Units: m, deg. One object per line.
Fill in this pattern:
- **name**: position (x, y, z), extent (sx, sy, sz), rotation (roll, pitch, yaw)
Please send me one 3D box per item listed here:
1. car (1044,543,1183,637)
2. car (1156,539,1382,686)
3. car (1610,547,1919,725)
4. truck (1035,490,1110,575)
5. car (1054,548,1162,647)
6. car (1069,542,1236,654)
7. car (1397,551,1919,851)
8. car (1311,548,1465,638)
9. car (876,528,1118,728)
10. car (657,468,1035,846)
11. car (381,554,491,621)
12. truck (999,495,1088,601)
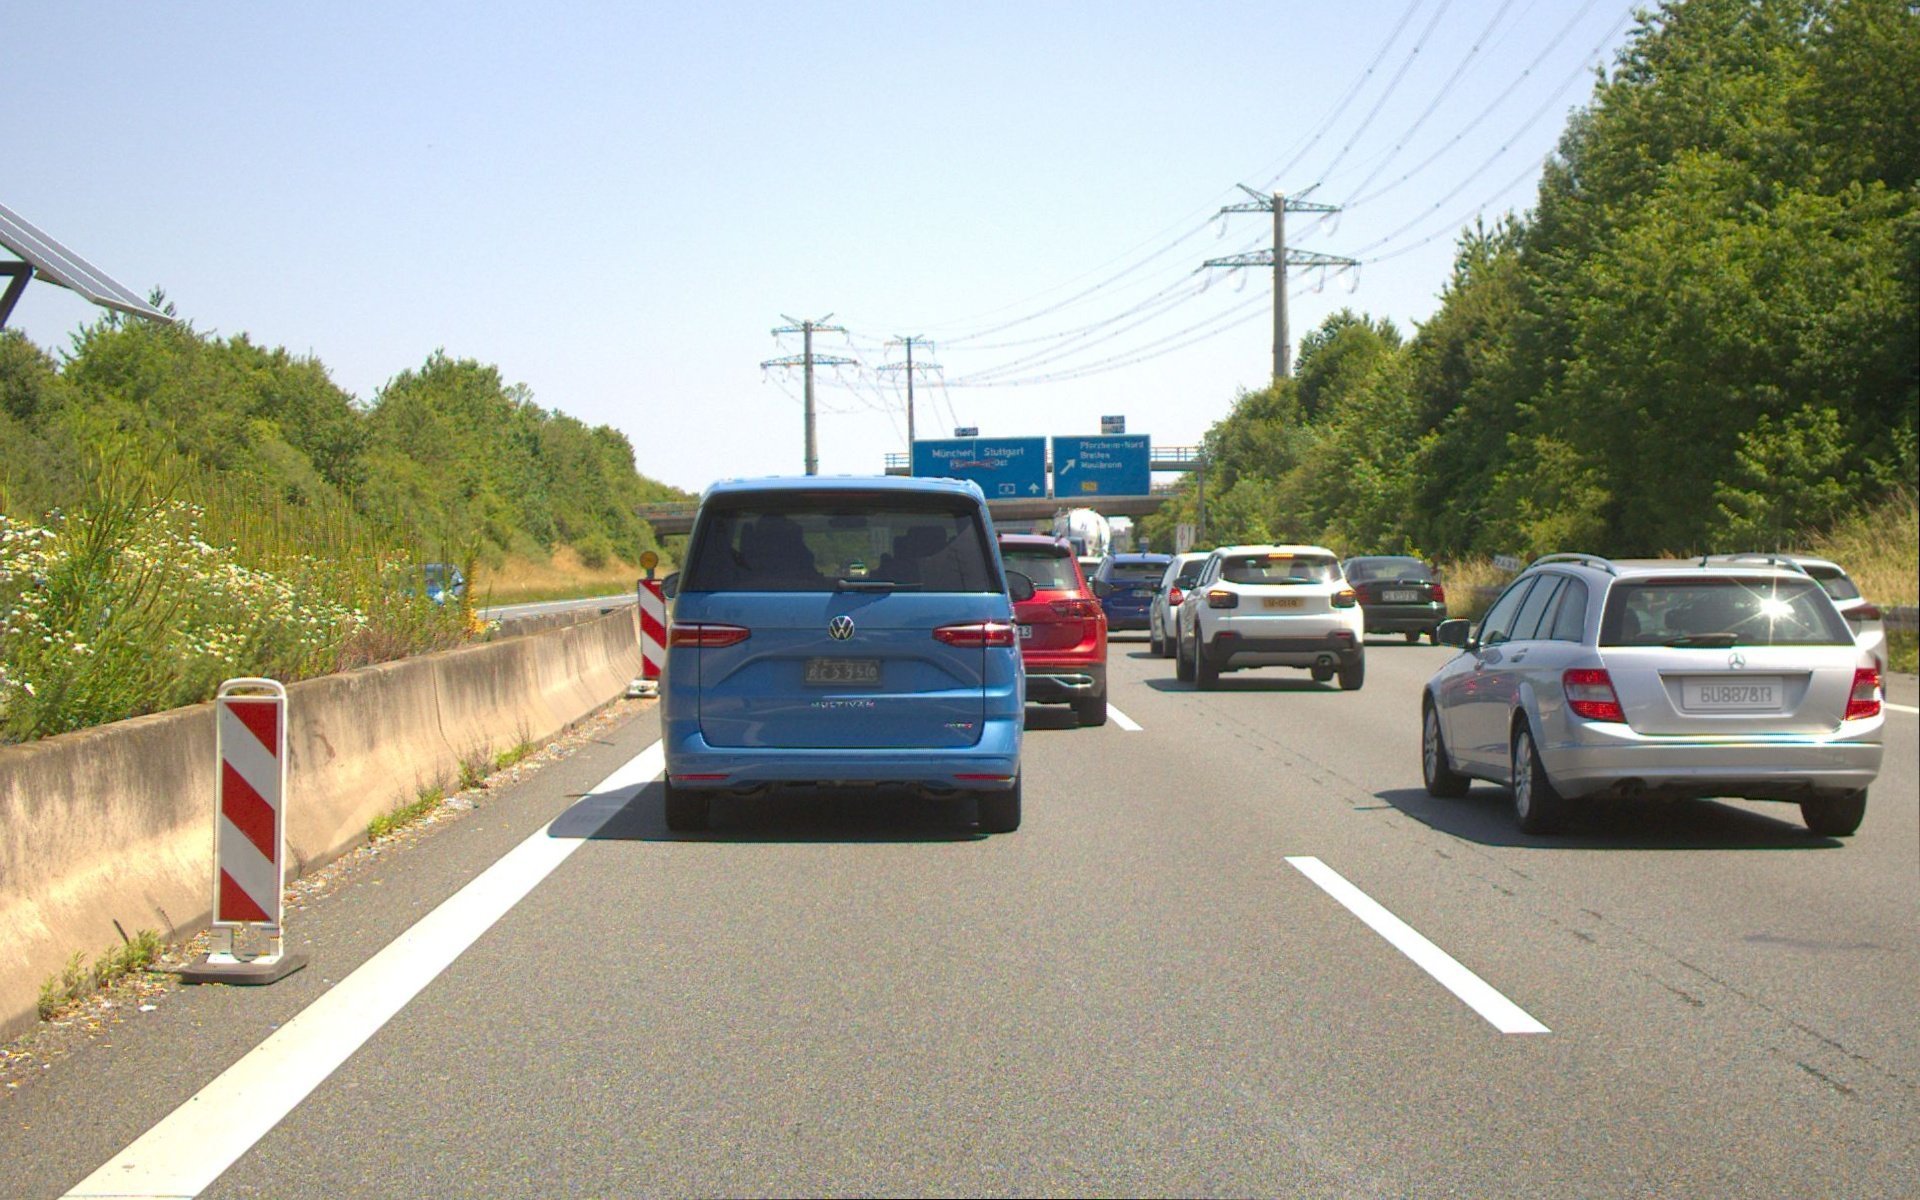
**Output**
- **car**: position (2.540, -0.197, 57.949), extent (1.908, 1.511, 4.384), rotation (1, 1, -3)
- **car**: position (3.327, 0.099, 37.716), extent (1.908, 1.503, 3.922), rotation (1, 1, -3)
- **car**: position (7.149, 0.271, 30.916), extent (1.741, 1.465, 4.014), rotation (0, 1, -1)
- **truck**: position (5.601, -3.398, 173.938), extent (2.644, 4.058, 16.443), rotation (1, 1, -2)
- **car**: position (3.094, -0.080, 72.741), extent (1.993, 2.007, 4.000), rotation (1, 1, -1)
- **car**: position (2.702, -0.063, 49.279), extent (1.908, 1.511, 4.384), rotation (1, 1, -3)
- **car**: position (3.720, 0.465, 18.974), extent (1.821, 1.432, 4.384), rotation (1, 1, -3)
- **car**: position (6.883, -0.147, 55.697), extent (1.734, 1.373, 4.303), rotation (1, 1, -3)
- **car**: position (0.251, 0.189, 30.161), extent (1.908, 1.625, 4.384), rotation (0, 1, -2)
- **car**: position (-0.747, 0.253, 19.417), extent (1.870, 1.872, 4.384), rotation (1, 1, -5)
- **car**: position (-12.832, -0.335, 84.406), extent (1.993, 1.540, 4.912), rotation (-1, 1, -1)
- **truck**: position (2.176, -1.381, 91.619), extent (1.993, 2.714, 5.681), rotation (1, 1, -2)
